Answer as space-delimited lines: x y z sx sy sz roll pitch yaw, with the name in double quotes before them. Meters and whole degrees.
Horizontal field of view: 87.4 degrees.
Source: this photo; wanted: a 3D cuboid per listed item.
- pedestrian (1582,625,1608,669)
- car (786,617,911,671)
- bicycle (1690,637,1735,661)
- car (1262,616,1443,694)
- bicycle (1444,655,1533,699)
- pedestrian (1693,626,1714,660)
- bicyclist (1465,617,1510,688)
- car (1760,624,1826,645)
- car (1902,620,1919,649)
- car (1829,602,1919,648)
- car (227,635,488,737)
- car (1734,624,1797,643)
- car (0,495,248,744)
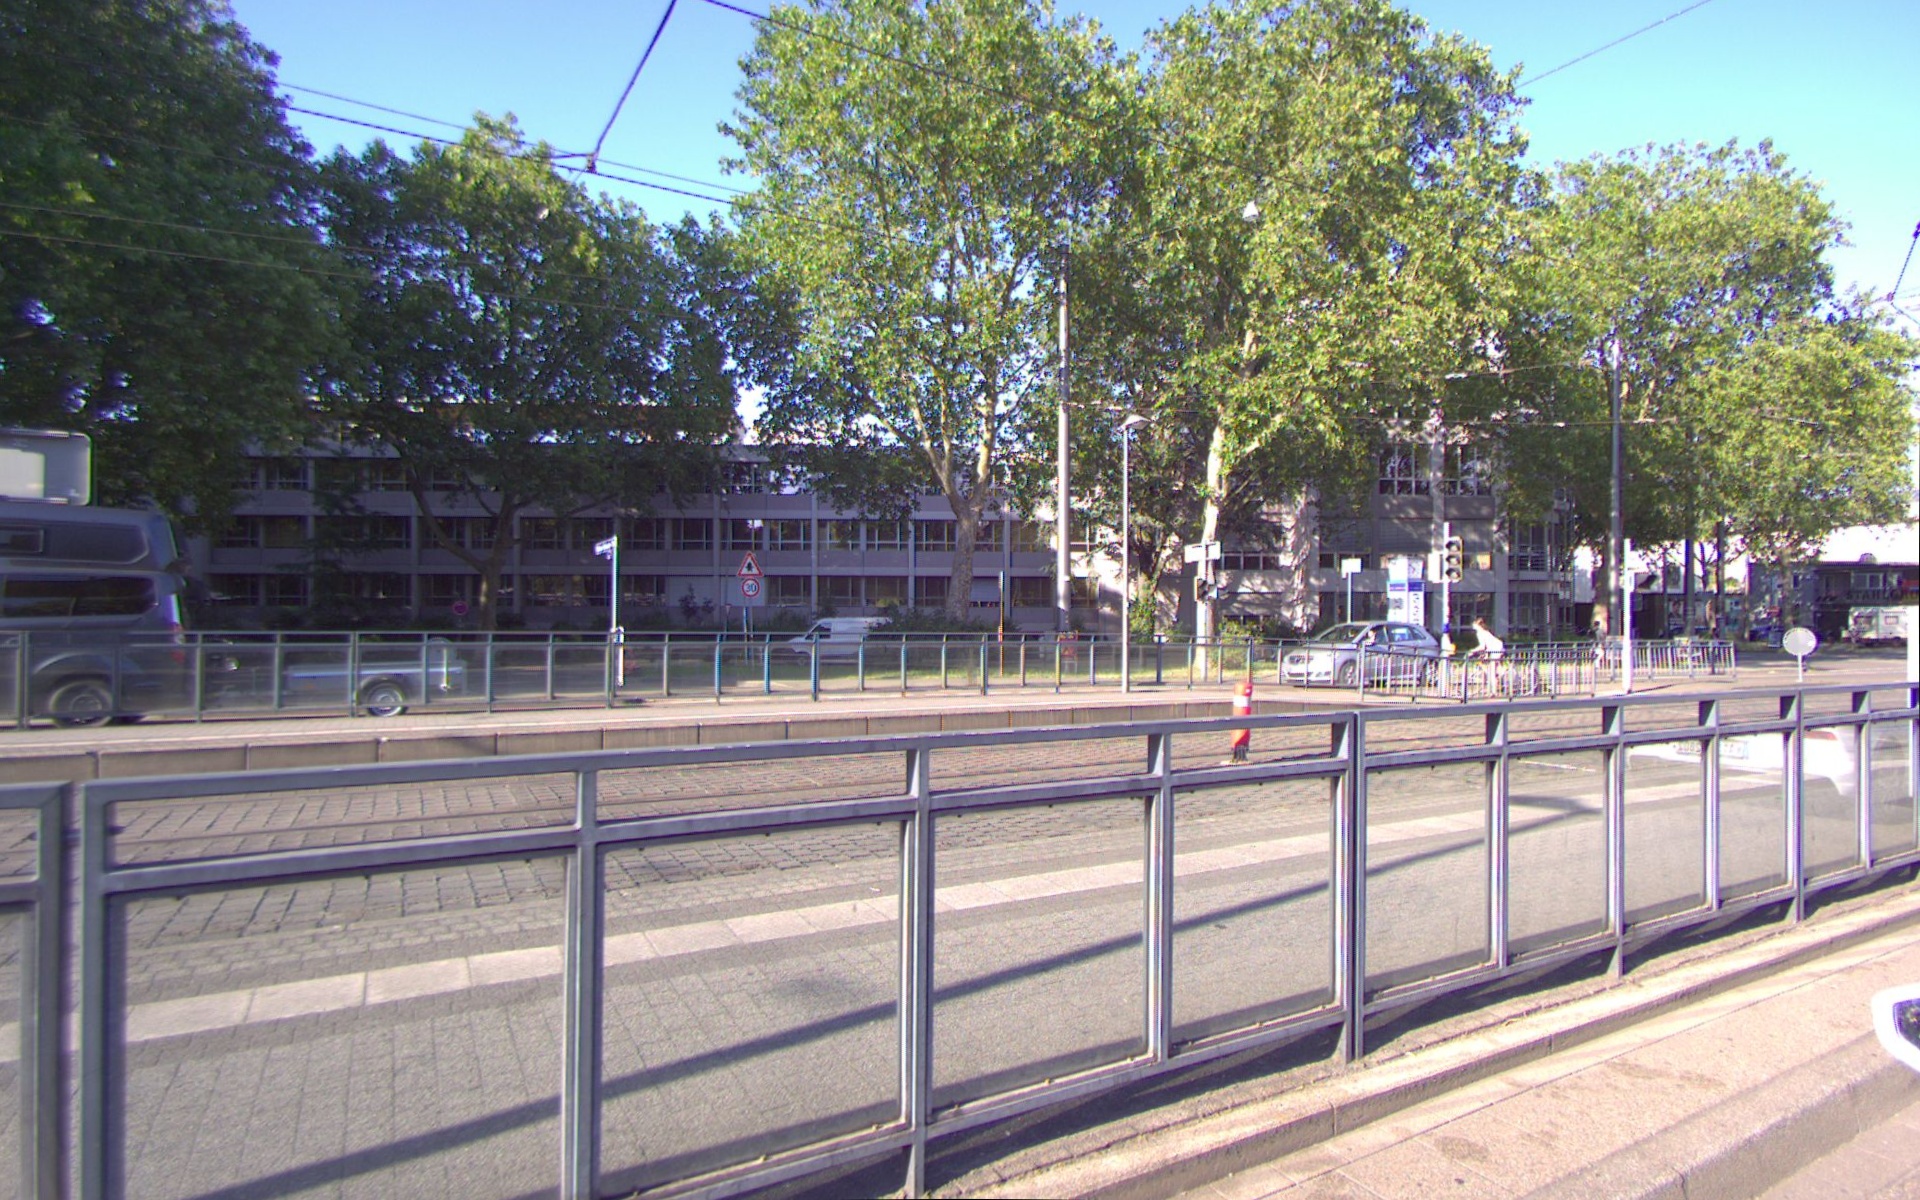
"pedestrian" 22.672 1.670 35.862 0.669 1.572 0.533 1 -1 -30
"car" -5.194 2.036 47.031 5.616 2.366 2.156 1 -1 -7
"bicycle" 37.978 2.467 50.730 0.494 1.122 1.788 1 -1 -27
"car" 9.571 1.298 24.469 4.107 1.715 1.809 1 0 -27
"bicycle" 10.910 1.574 20.791 1.586 0.827 0.527 0 -1 25
"pedestrian" 37.494 2.179 50.638 0.642 1.683 0.646 1 -1 -27
"bicyclist" 10.917 1.064 20.793 0.788 1.433 0.527 0 -1 25
"car" 65.955 2.715 79.525 3.925 1.530 1.798 1 -1 -6
"car" 66.911 2.367 68.612 3.929 1.982 1.796 1 -1 -11
"car" 66.265 1.807 71.868 6.413 3.207 2.501 1 -1 -7
"car" -8.270 1.137 13.971 2.879 1.178 2.056 2 -1 -31
"car" 65.967 2.737 82.310 3.925 1.530 1.798 1 -1 -6
"car" -11.626 0.197 11.885 4.974 2.779 2.056 2 0 -31
